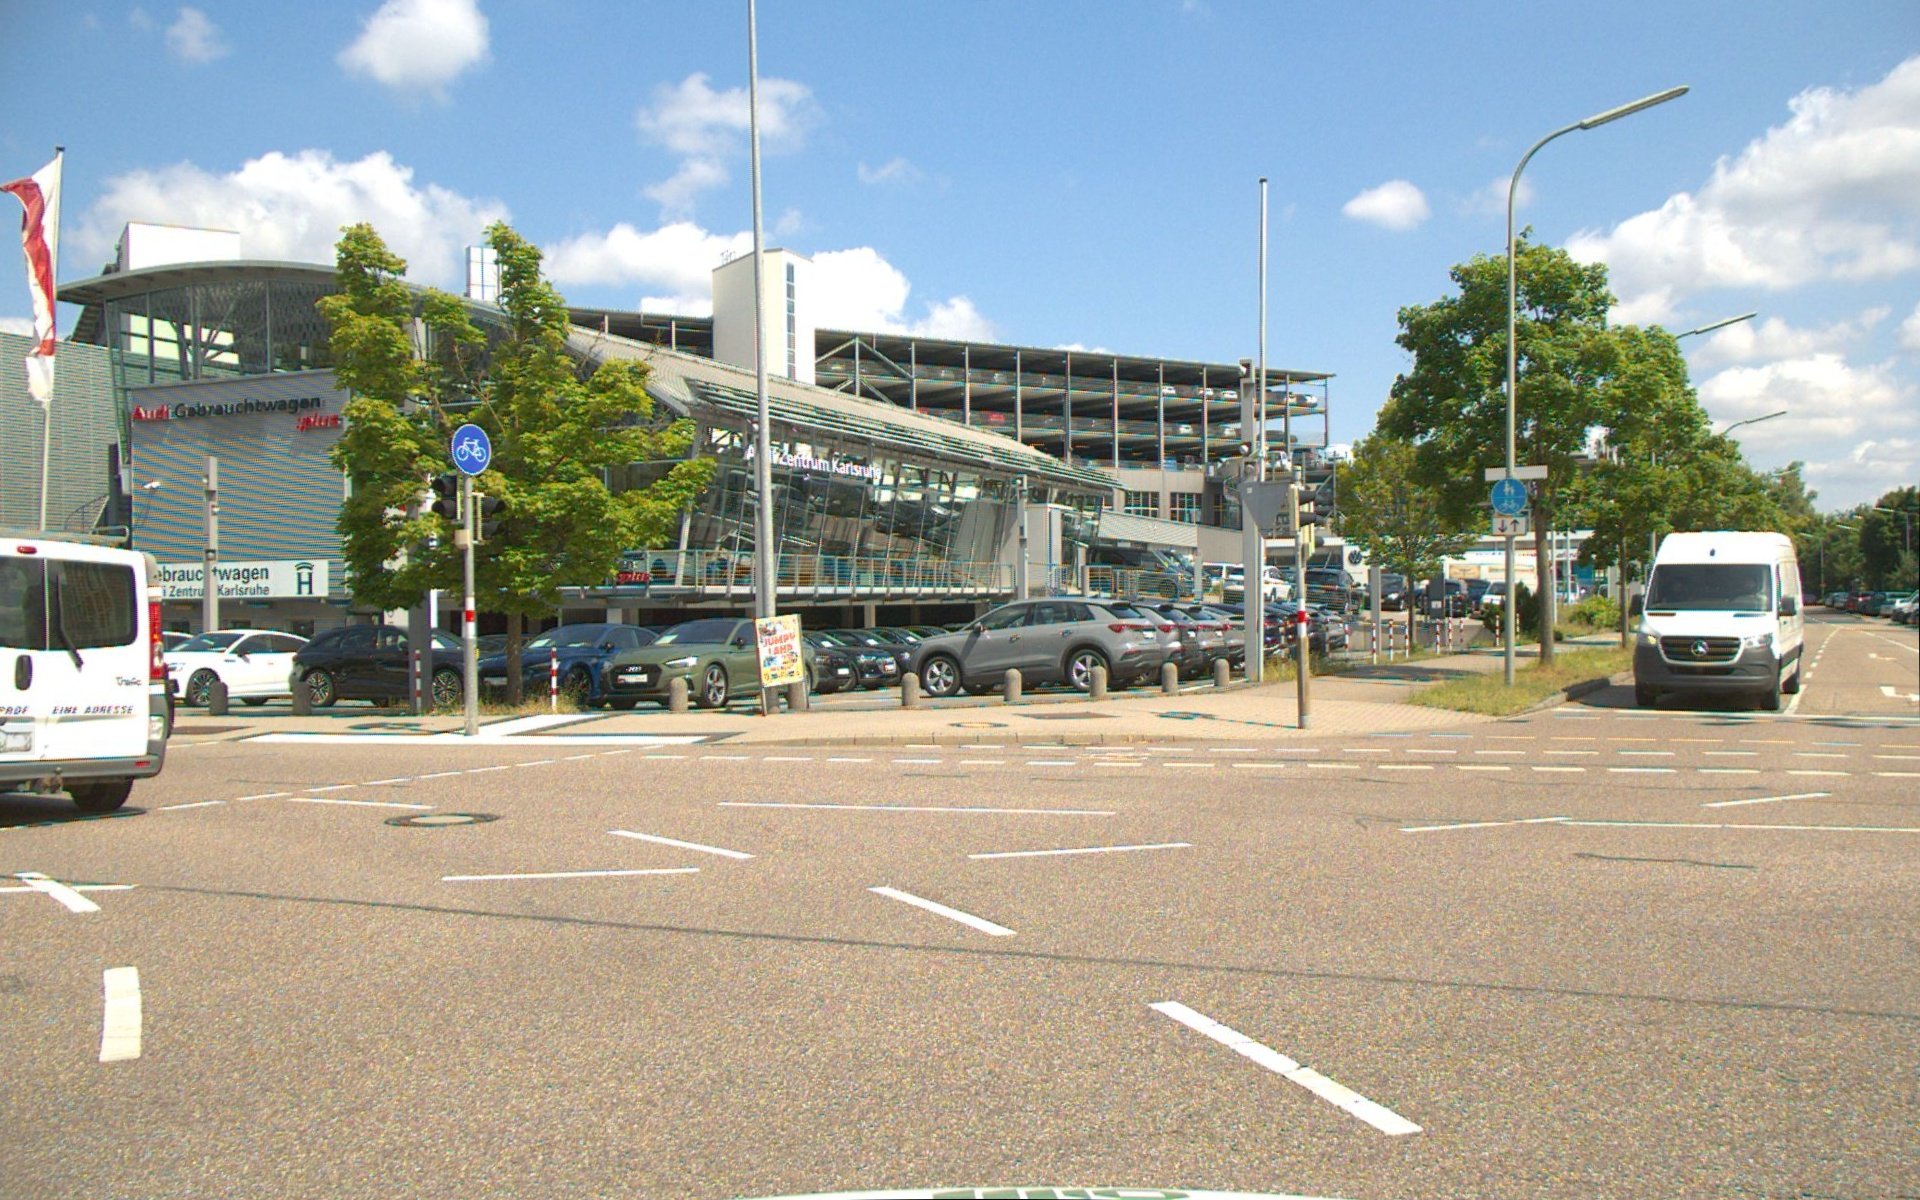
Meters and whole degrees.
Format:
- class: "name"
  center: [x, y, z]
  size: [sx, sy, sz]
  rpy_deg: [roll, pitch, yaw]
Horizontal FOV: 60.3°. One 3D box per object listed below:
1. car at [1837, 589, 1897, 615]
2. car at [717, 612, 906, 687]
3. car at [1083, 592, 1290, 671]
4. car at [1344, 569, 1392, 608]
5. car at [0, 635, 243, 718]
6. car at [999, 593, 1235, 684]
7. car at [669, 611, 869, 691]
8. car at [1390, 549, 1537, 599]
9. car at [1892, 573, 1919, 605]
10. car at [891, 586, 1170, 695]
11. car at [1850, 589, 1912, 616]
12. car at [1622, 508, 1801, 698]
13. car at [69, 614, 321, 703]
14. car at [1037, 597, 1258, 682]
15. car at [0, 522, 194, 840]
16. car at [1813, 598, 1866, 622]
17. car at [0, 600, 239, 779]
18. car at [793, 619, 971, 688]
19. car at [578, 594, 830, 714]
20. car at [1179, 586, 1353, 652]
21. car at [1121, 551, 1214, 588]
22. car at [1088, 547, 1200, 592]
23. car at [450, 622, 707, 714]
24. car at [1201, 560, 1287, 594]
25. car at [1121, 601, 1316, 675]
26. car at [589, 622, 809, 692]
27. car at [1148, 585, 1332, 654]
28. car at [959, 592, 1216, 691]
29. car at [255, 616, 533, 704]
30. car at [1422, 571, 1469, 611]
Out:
- class: "car"
  center: [73.318, 0.163, 133.702]
  size: [3.904, 2.049, 2.001]
  rpy_deg: [1, 0, 19]
- class: "car"
  center: [-3.844, 1.245, 42.857]
  size: [4.444, 1.771, 2.000]
  rpy_deg: [1, 0, 20]
- class: "car"
  center: [5.341, 0.715, 39.075]
  size: [4.483, 1.707, 1.906]
  rpy_deg: [1, 0, 24]
- class: "car"
  center: [17.373, -0.459, 70.357]
  size: [1.529, 1.579, 3.602]
  rpy_deg: [1, 0, 21]
- class: "car"
  center: [-16.009, 1.376, 31.187]
  size: [1.862, 1.320, 4.589]
  rpy_deg: [1, 0, 22]
- class: "car"
  center: [3.254, 0.758, 34.308]
  size: [4.483, 1.707, 1.906]
  rpy_deg: [1, 0, 24]
- class: "car"
  center: [-4.675, 1.201, 40.551]
  size: [4.444, 1.771, 2.000]
  rpy_deg: [1, 0, 21]
- class: "car"
  center: [22.933, -1.194, 75.330]
  size: [6.257, 2.139, 1.765]
  rpy_deg: [1, 0, 22]
- class: "car"
  center: [63.932, -0.674, 106.917]
  size: [6.215, 2.049, 2.571]
  rpy_deg: [1, 0, 25]
- class: "car"
  center: [1.233, 0.728, 29.066]
  size: [4.483, 1.707, 1.906]
  rpy_deg: [-3, -2, 24]
- class: "car"
  center: [72.325, 0.186, 129.935]
  size: [3.904, 2.049, 2.001]
  rpy_deg: [1, 0, 19]
- class: "car"
  center: [12.215, 0.051, 26.585]
  size: [2.092, 2.652, 6.852]
  rpy_deg: [1, 0, 29]
- class: "car"
  center: [-13.684, 1.078, 29.839]
  size: [1.753, 1.490, 3.999]
  rpy_deg: [-1, -3, 22]
- class: "car"
  center: [4.156, 0.840, 36.617]
  size: [4.483, 1.707, 1.906]
  rpy_deg: [1, 0, 24]
- class: "car"
  center: [-7.934, 0.513, 12.492]
  size: [4.472, 2.096, 1.972]
  rpy_deg: [1, 0, 36]
- class: "car"
  center: [78.922, 0.885, 148.481]
  size: [3.904, 2.049, 2.001]
  rpy_deg: [1, 0, 19]
- class: "car"
  center: [-9.646, 0.842, 17.191]
  size: [3.907, 1.658, 1.779]
  rpy_deg: [0, 0, 24]
- class: "car"
  center: [-2.144, 1.421, 45.372]
  size: [4.483, 1.707, 1.906]
  rpy_deg: [1, 0, 24]
- class: "car"
  center: [-3.947, 0.790, 26.377]
  size: [1.862, 1.707, 4.589]
  rpy_deg: [1, 0, 22]
- class: "car"
  center: [8.624, 0.513, 46.622]
  size: [4.483, 1.707, 1.906]
  rpy_deg: [1, 0, 24]
- class: "car"
  center: [9.310, -1.361, 74.227]
  size: [3.902, 1.579, 1.766]
  rpy_deg: [1, 0, 15]
- class: "car"
  center: [7.710, -1.281, 69.473]
  size: [4.350, 1.833, 1.765]
  rpy_deg: [1, 0, 21]
- class: "car"
  center: [-6.209, 1.062, 27.537]
  size: [1.862, 1.320, 4.589]
  rpy_deg: [1, 0, 22]
- class: "car"
  center: [13.765, -1.108, 80.097]
  size: [3.902, 1.579, 1.766]
  rpy_deg: [1, 0, 15]
- class: "car"
  center: [6.486, 0.922, 41.552]
  size: [4.483, 1.707, 1.906]
  rpy_deg: [1, 0, 24]
- class: "car"
  center: [-6.017, 1.322, 38.192]
  size: [4.643, 1.537, 1.984]
  rpy_deg: [-1, -3, 22]
- class: "car"
  center: [7.450, 0.490, 43.965]
  size: [4.483, 1.707, 1.906]
  rpy_deg: [1, 0, 24]
- class: "car"
  center: [2.420, 0.747, 31.438]
  size: [4.483, 1.707, 1.906]
  rpy_deg: [1, 0, 24]
- class: "car"
  center: [-10.131, 1.079, 29.616]
  size: [4.643, 1.490, 1.795]
  rpy_deg: [-1, -3, 22]
- class: "car"
  center: [20.121, -0.349, 68.437]
  size: [1.529, 1.579, 3.602]
  rpy_deg: [1, 0, 21]
